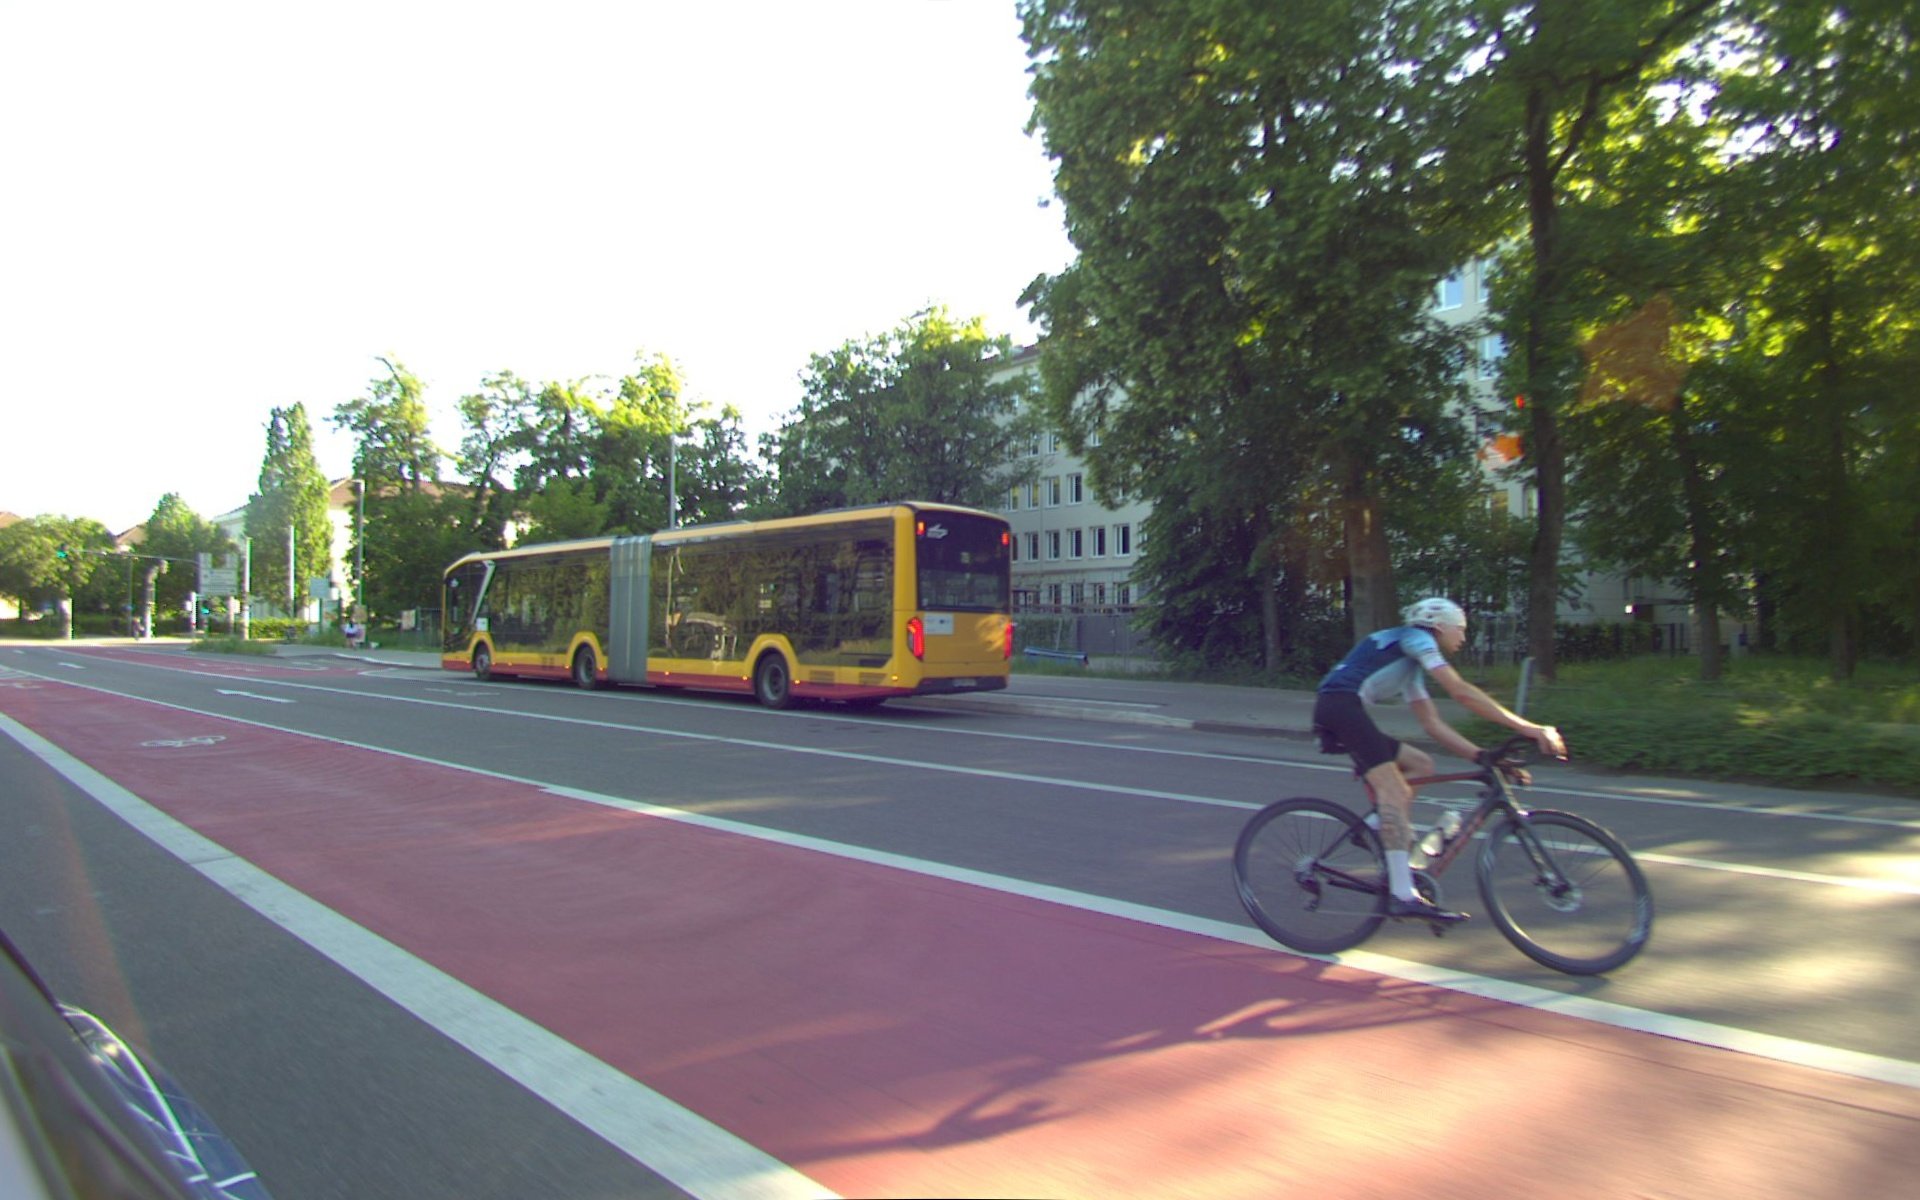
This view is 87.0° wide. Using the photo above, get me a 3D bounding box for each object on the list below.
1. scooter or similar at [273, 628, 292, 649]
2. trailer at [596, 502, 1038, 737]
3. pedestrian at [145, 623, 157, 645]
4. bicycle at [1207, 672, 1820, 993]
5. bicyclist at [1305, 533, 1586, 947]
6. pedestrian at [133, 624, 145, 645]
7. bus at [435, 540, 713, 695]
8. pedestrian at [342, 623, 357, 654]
[{"bbox_3d":[-43.420,2.463,64.871,0.683,1.304,1.501,1,-2,-20],"label":"scooter or similar"},{"bbox_3d":[-3.127,0.307,18.796,9.362,3.380,2.824,-1,0,43],"label":"trailer"},{"bbox_3d":[-67.662,2.876,84.640,0.734,1.830,0.727,1,-2,-41],"label":"pedestrian"},{"bbox_3d":[2.176,0.899,4.354,2.114,1.104,0.890,-1,0,13],"label":"bicycle"},{"bbox_3d":[2.030,0.548,4.388,0.872,1.579,0.859,-2,-1,13],"label":"bicyclist"},{"bbox_3d":[-66.534,2.830,82.019,0.681,1.694,0.681,1,-2,-41],"label":"pedestrian"},{"bbox_3d":[-9.747,0.456,24.891,8.598,3.221,2.810,-1,-2,42],"label":"bus"},{"bbox_3d":[-30.399,1.897,50.410,0.570,1.545,0.447,-1,-1,37],"label":"pedestrian"}]
